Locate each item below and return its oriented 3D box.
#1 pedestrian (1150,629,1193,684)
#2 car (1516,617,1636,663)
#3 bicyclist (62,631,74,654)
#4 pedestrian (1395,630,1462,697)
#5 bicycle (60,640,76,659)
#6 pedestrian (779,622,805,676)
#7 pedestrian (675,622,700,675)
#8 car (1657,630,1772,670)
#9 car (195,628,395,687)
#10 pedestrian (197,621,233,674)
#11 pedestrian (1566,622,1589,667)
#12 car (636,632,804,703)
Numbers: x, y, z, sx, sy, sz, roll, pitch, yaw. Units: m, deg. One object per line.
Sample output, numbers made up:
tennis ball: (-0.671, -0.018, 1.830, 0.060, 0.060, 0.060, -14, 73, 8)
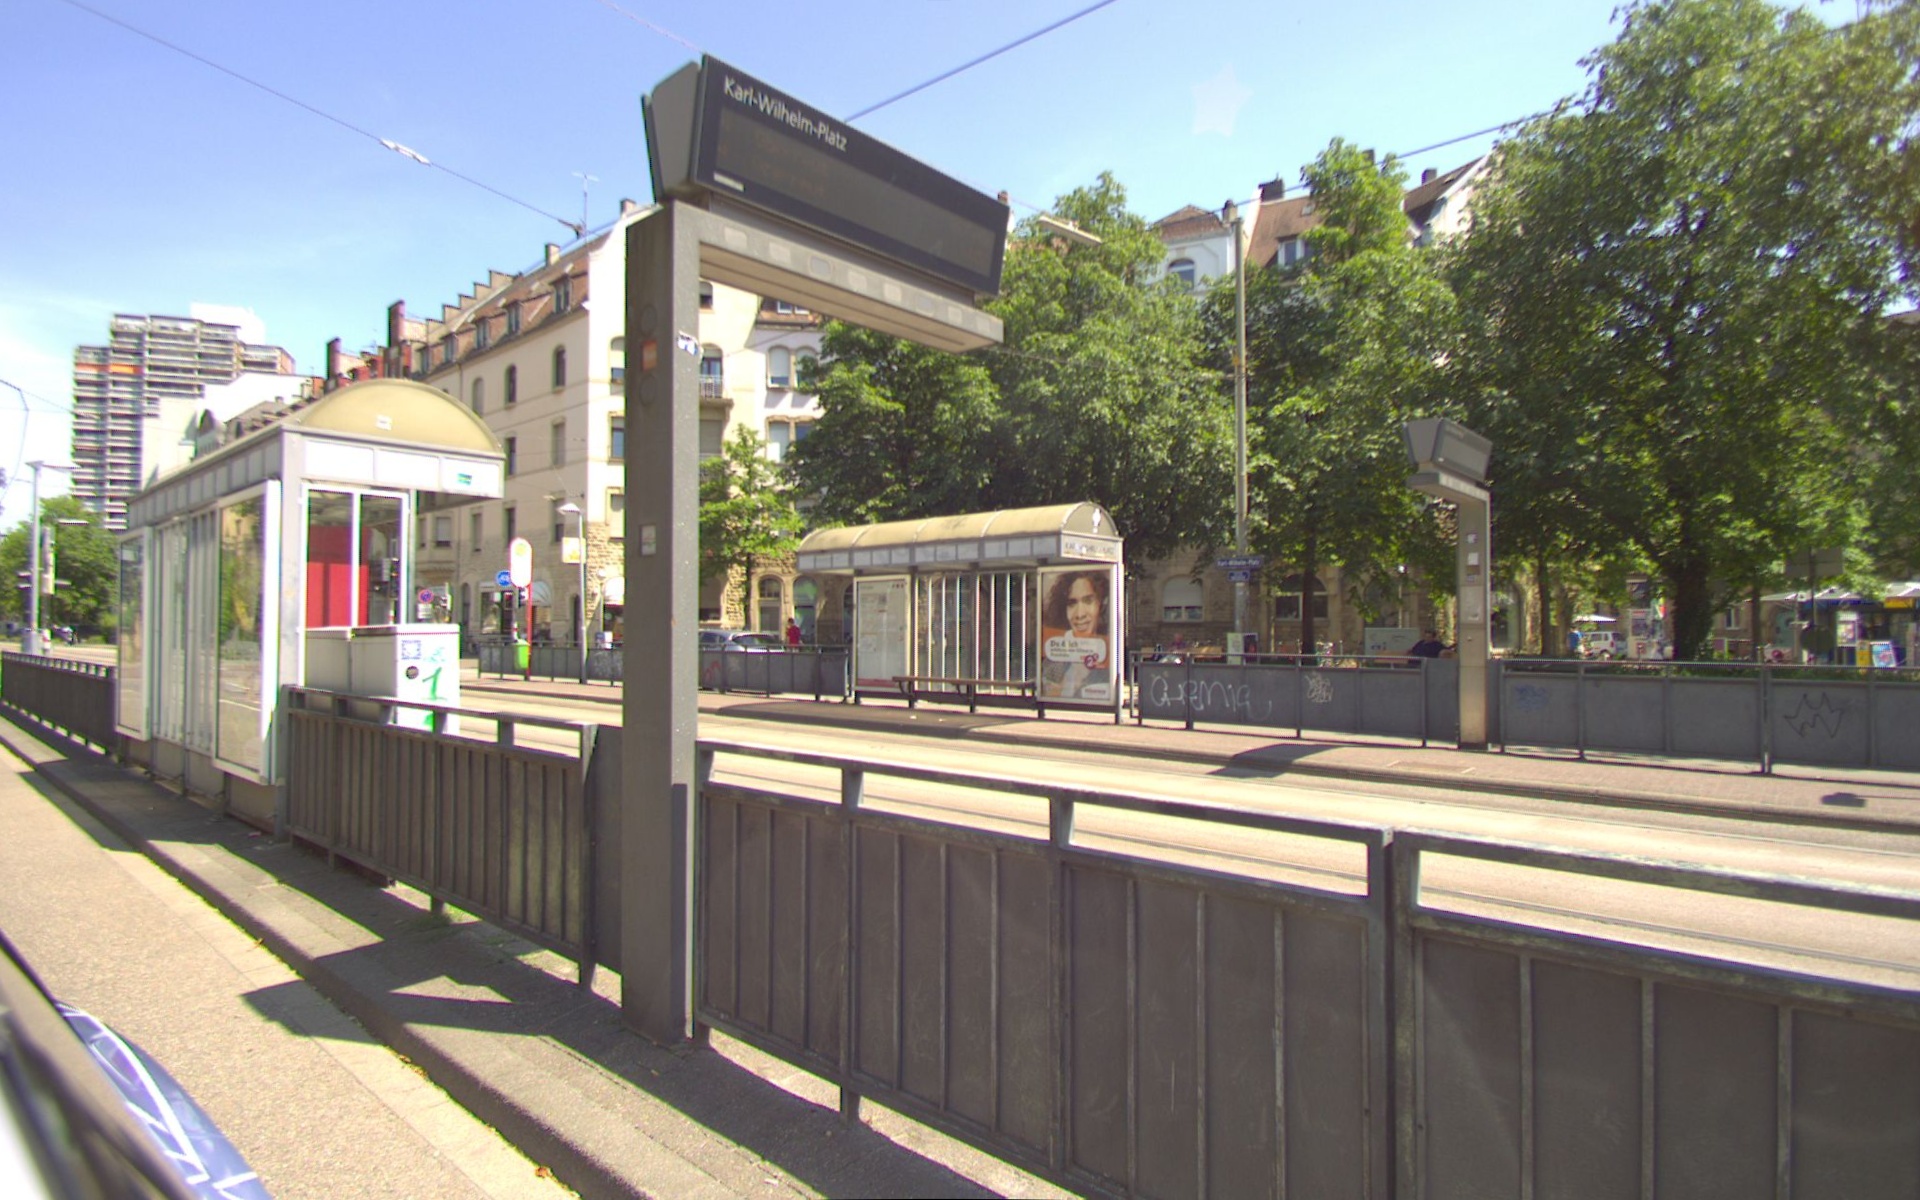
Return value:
pedestrian: (5.090, 1.348, 24.314, 0.930, 1.253, 0.860, -1, 0, 17)
car: (26.714, 1.691, 44.009, 1.966, 1.803, 4.011, -1, 0, -33)
bicyclist: (-74.243, 3.516, 84.222, 0.715, 1.889, 0.636, -1, 0, 39)
pedestrian: (9.279, 1.231, 20.039, 0.852, 1.253, 0.939, -1, 0, -43)
bicycle: (-74.232, 4.125, 84.230, 1.969, 1.524, 0.636, -1, 0, 39)
pedestrian: (-4.915, 1.440, 29.637, 0.473, 1.563, 0.586, -2, -3, 39)
pedestrian: (-8.532, 1.516, 31.734, 0.474, 1.659, 0.586, -2, -3, 45)
car: (35.783, 2.334, 48.102, 1.736, 1.721, 3.998, -1, 0, -33)
car: (-20.060, 1.693, 30.830, 4.949, 1.493, 1.944, -1, 0, -30)
pedestrian: (-26.230, 1.655, 35.627, 0.672, 1.837, 0.828, -2, -3, 37)
pedestrian: (23.418, 1.688, 38.373, 0.483, 1.683, 0.517, 1, -2, -27)
car: (-5.602, 1.481, 23.359, 3.998, 1.404, 1.789, -1, 0, 41)
